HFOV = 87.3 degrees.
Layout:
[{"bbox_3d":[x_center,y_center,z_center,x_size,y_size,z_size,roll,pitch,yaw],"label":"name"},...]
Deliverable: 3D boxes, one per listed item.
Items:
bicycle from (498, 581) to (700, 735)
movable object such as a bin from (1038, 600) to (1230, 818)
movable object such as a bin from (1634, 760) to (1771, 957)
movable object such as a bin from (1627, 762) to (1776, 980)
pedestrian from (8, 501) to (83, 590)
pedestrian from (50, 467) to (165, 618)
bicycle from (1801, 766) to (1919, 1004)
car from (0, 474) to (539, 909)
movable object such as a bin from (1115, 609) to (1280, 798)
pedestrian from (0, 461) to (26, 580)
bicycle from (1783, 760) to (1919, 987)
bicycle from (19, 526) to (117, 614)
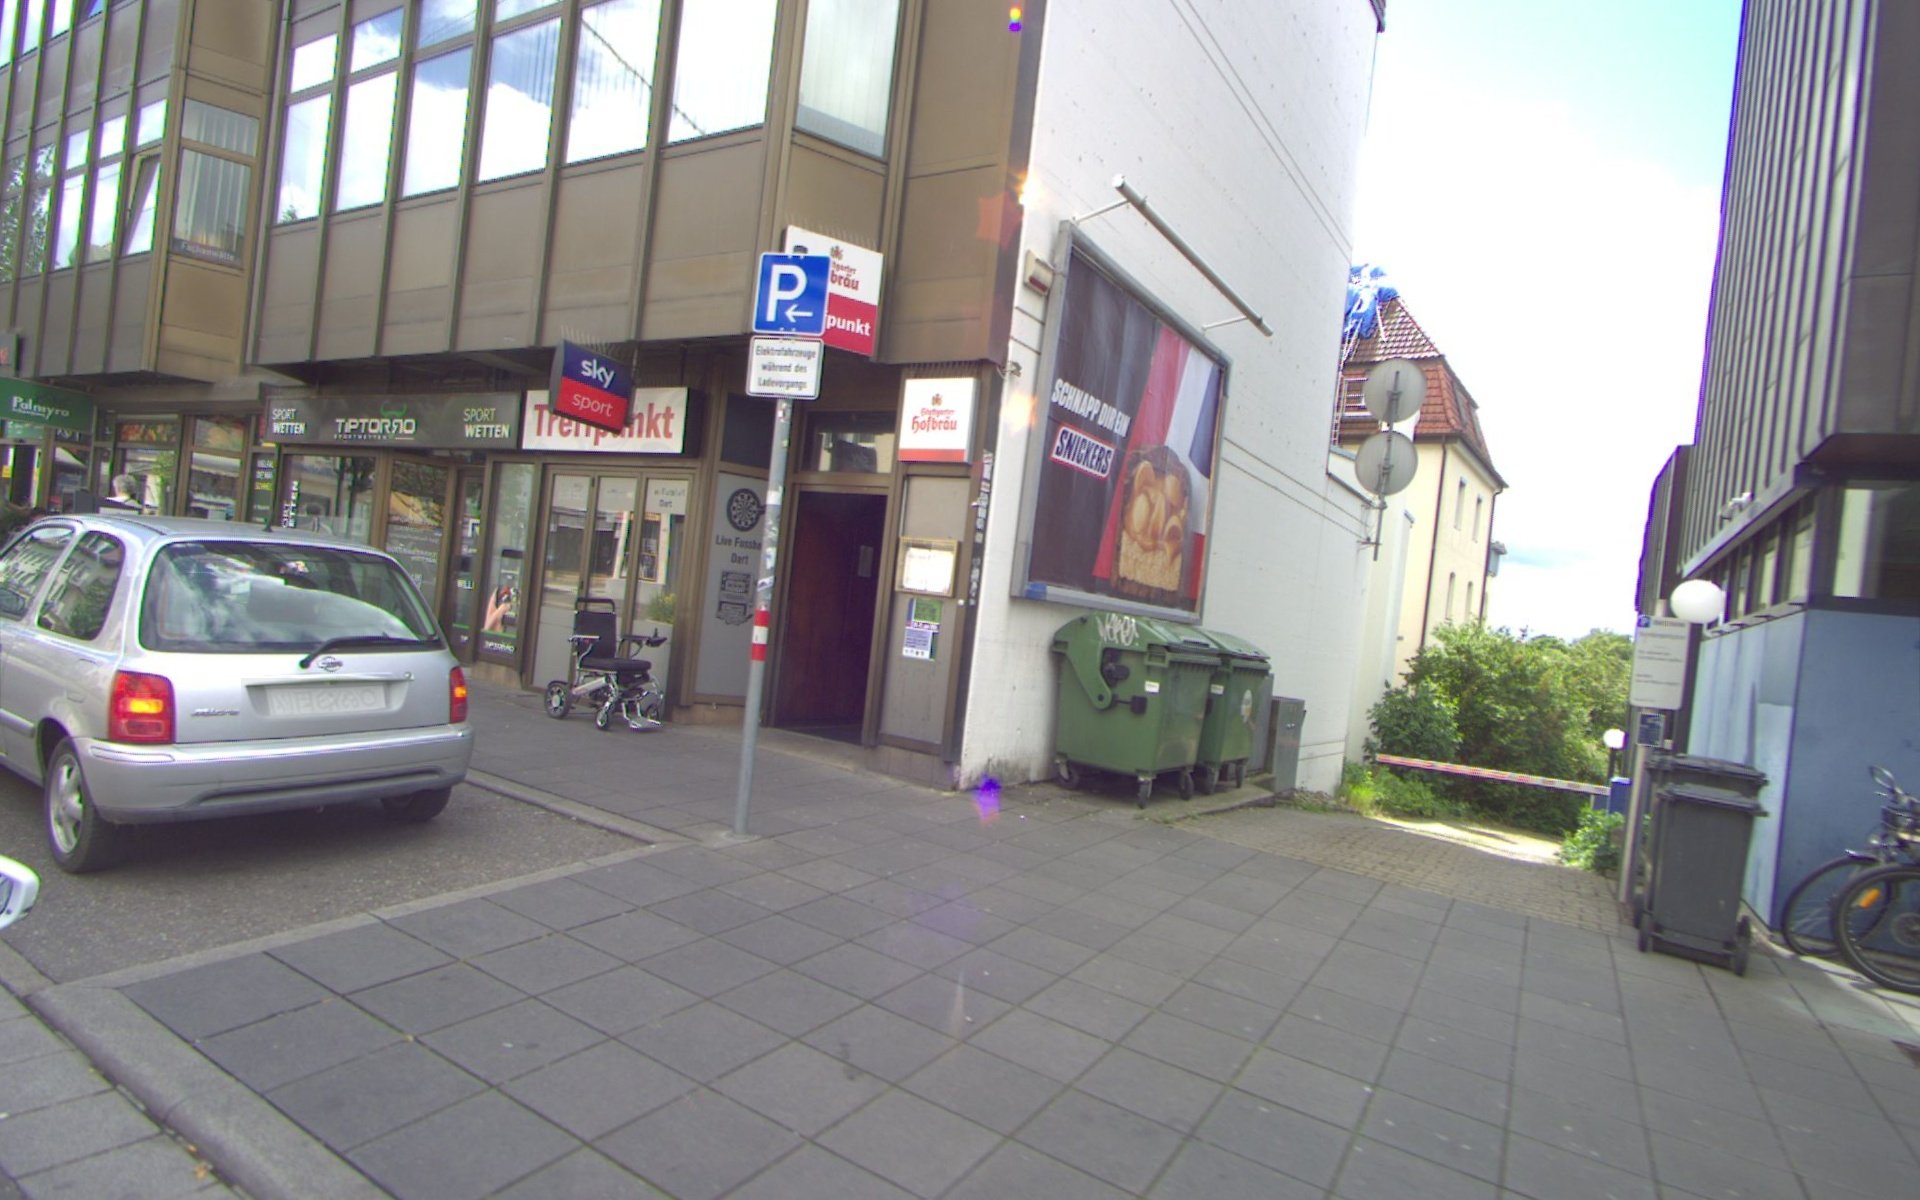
[{"bbox_3d":[-2.985,0.463,8.296,1.452,1.060,0.721,6,-2,32],"label":"bicycle"},{"bbox_3d":[1.444,0.867,8.245,1.015,1.545,1.143,6,-2,34],"label":"movable object such as a bin"},{"bbox_3d":[4.429,1.515,6.034,0.545,1.011,0.487,6,-1,34],"label":"movable object such as a bin"},{"bbox_3d":[4.041,1.445,5.515,0.545,1.011,0.487,6,-1,34],"label":"movable object such as a bin"},{"bbox_3d":[-14.190,-0.841,15.611,0.603,1.268,0.622,6,-1,34],"label":"pedestrian"},{"bbox_3d":[-10.486,-0.690,12.392,0.635,1.726,0.658,7,-1,9],"label":"pedestrian"},{"bbox_3d":[5.273,1.536,5.037,1.477,1.095,0.425,7,2,34],"label":"bicycle"},{"bbox_3d":[-4.099,0.193,5.278,3.733,1.515,1.609,7,3,33],"label":"car"},{"bbox_3d":[2.242,0.950,9.420,1.015,1.545,1.143,6,-2,34],"label":"movable object such as a bin"},{"bbox_3d":[-15.281,-1.279,15.765,0.700,1.838,0.737,6,2,31],"label":"pedestrian"},{"bbox_3d":[5.568,1.578,5.534,1.478,1.132,0.426,6,-1,34],"label":"bicycle"},{"bbox_3d":[-11.046,-0.359,12.475,0.548,0.990,0.604,7,-1,8],"label":"bicycle"}]
